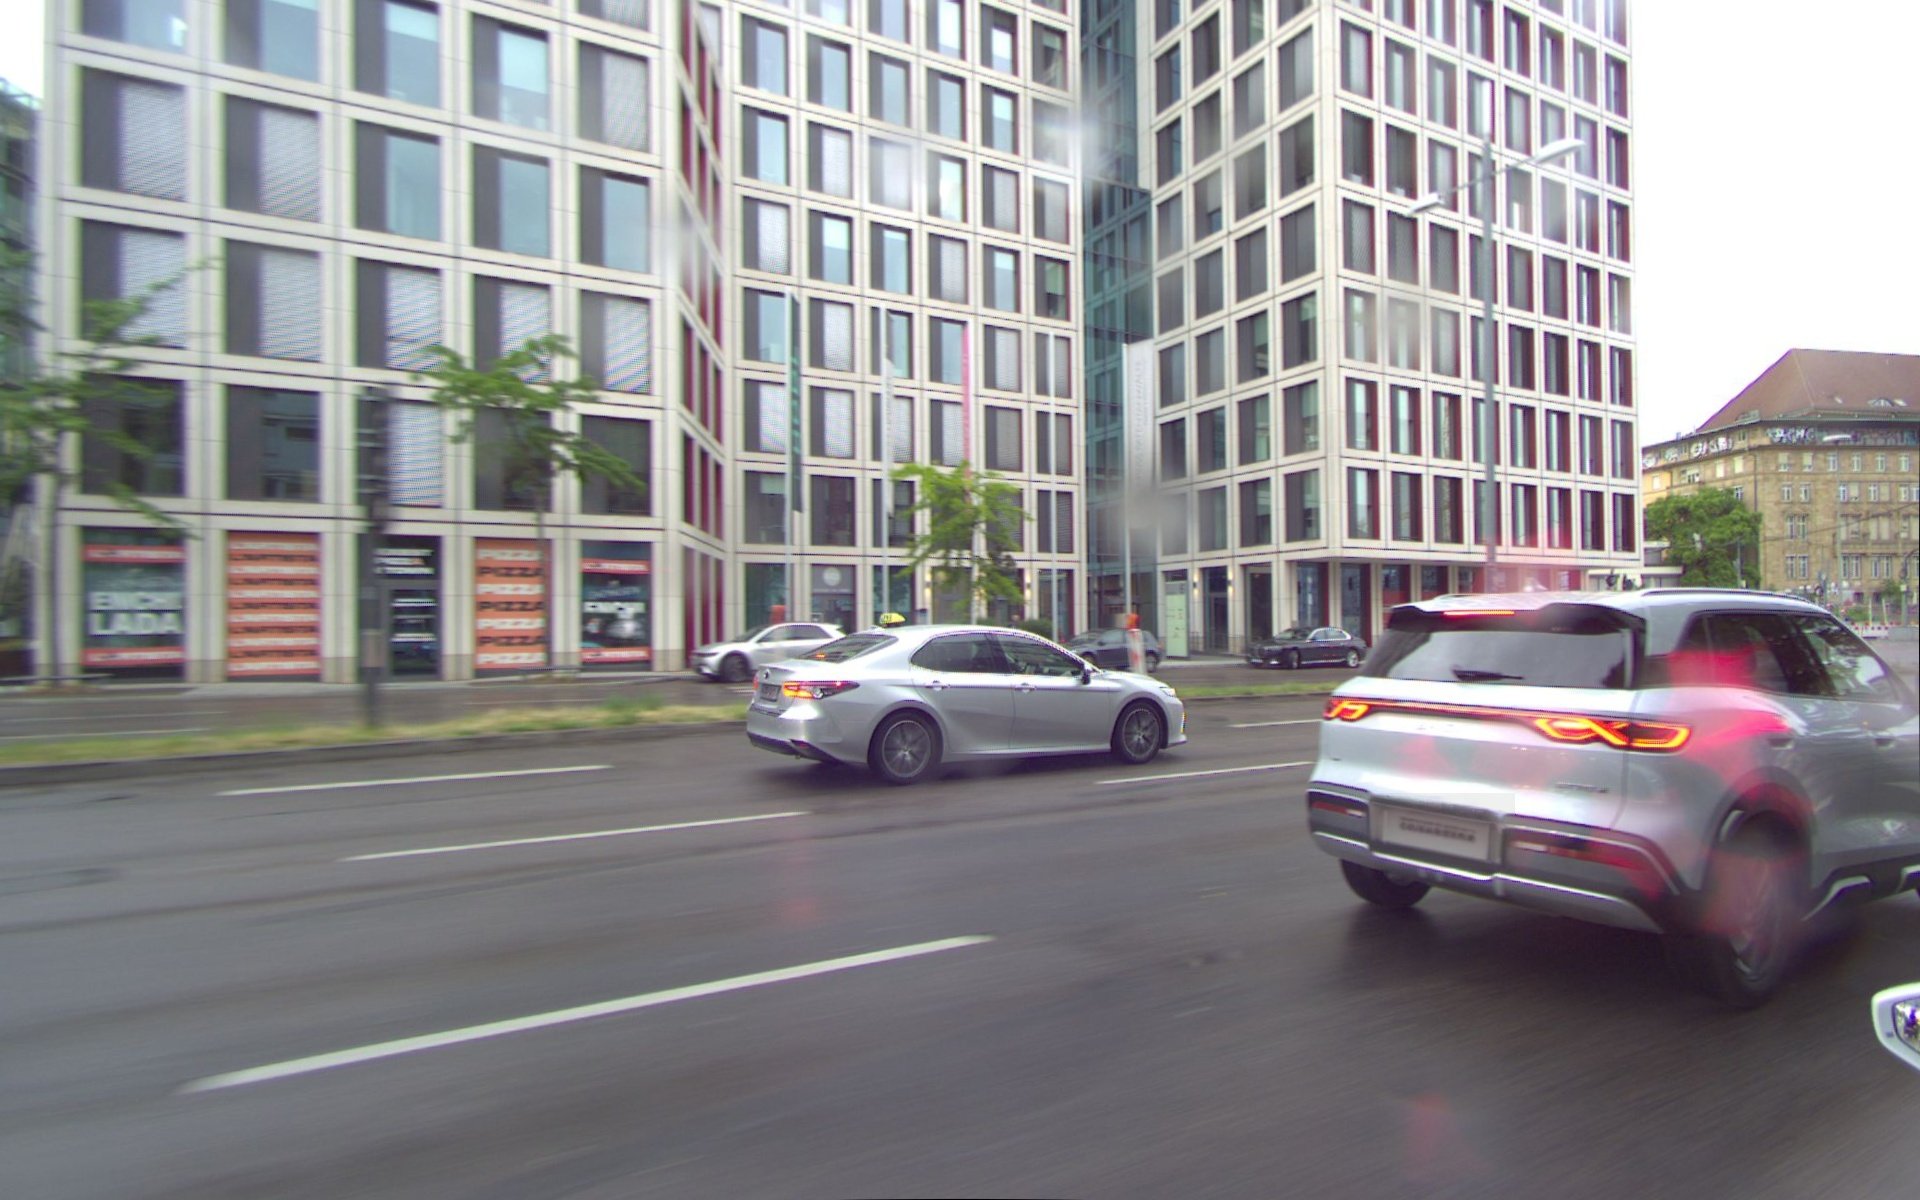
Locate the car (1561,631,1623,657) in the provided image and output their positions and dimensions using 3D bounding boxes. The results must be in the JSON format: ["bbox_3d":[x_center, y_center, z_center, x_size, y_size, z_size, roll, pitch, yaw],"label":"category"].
[{"bbox_3d":[43.320,2.978,68.983,1.643,1.617,3.999,2,-1,-2],"label":"car"}]

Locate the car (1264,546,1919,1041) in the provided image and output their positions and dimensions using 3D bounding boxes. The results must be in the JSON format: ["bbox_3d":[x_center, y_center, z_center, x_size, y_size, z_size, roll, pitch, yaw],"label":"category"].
[{"bbox_3d":[3.755,0.737,5.245,4.121,1.683,1.800,2,-1,-30],"label":"car"}]

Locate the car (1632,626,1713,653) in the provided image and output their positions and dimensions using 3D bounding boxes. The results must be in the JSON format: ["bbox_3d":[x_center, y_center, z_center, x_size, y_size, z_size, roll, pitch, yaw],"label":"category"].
[{"bbox_3d":[49.716,2.735,70.103,4.335,1.684,1.988,1,-1,45],"label":"car"}]

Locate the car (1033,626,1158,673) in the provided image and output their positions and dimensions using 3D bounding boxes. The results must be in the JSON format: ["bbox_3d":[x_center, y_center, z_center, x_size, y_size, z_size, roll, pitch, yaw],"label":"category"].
[{"bbox_3d":[4.489,1.643,33.119,3.909,1.442,1.690,2,-3,-30],"label":"car"}]

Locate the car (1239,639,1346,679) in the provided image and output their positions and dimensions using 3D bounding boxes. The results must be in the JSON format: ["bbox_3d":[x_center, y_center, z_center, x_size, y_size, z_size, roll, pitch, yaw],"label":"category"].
[{"bbox_3d":[12.458,2.198,37.598,3.909,1.442,1.690,2,-3,-30],"label":"car"}]

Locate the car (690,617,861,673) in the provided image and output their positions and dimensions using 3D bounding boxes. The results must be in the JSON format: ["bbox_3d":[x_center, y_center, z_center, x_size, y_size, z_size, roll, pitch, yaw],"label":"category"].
[{"bbox_3d":[-5.069,1.263,27.771,4.323,1.442,1.690,2,-3,-30],"label":"car"}]

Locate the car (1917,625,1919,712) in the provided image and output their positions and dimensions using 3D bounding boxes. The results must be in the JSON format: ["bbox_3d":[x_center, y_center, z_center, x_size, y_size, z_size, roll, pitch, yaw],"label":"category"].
[{"bbox_3d":[17.921,1.198,16.544,4.325,1.422,1.727,2,-1,-26],"label":"car"}]

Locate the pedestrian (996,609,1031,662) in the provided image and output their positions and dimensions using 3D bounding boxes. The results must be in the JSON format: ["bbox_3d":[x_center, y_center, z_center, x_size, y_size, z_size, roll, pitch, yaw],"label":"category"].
[{"bbox_3d":[1.822,1.221,34.264,0.956,1.757,0.609,2,-1,-32],"label":"pedestrian"}]

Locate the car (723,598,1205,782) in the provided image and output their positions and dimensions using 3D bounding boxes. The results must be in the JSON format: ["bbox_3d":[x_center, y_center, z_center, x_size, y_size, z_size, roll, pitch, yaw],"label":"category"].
[{"bbox_3d":[0.151,0.847,10.437,4.746,1.541,1.822,3,-1,-31],"label":"car"}]
